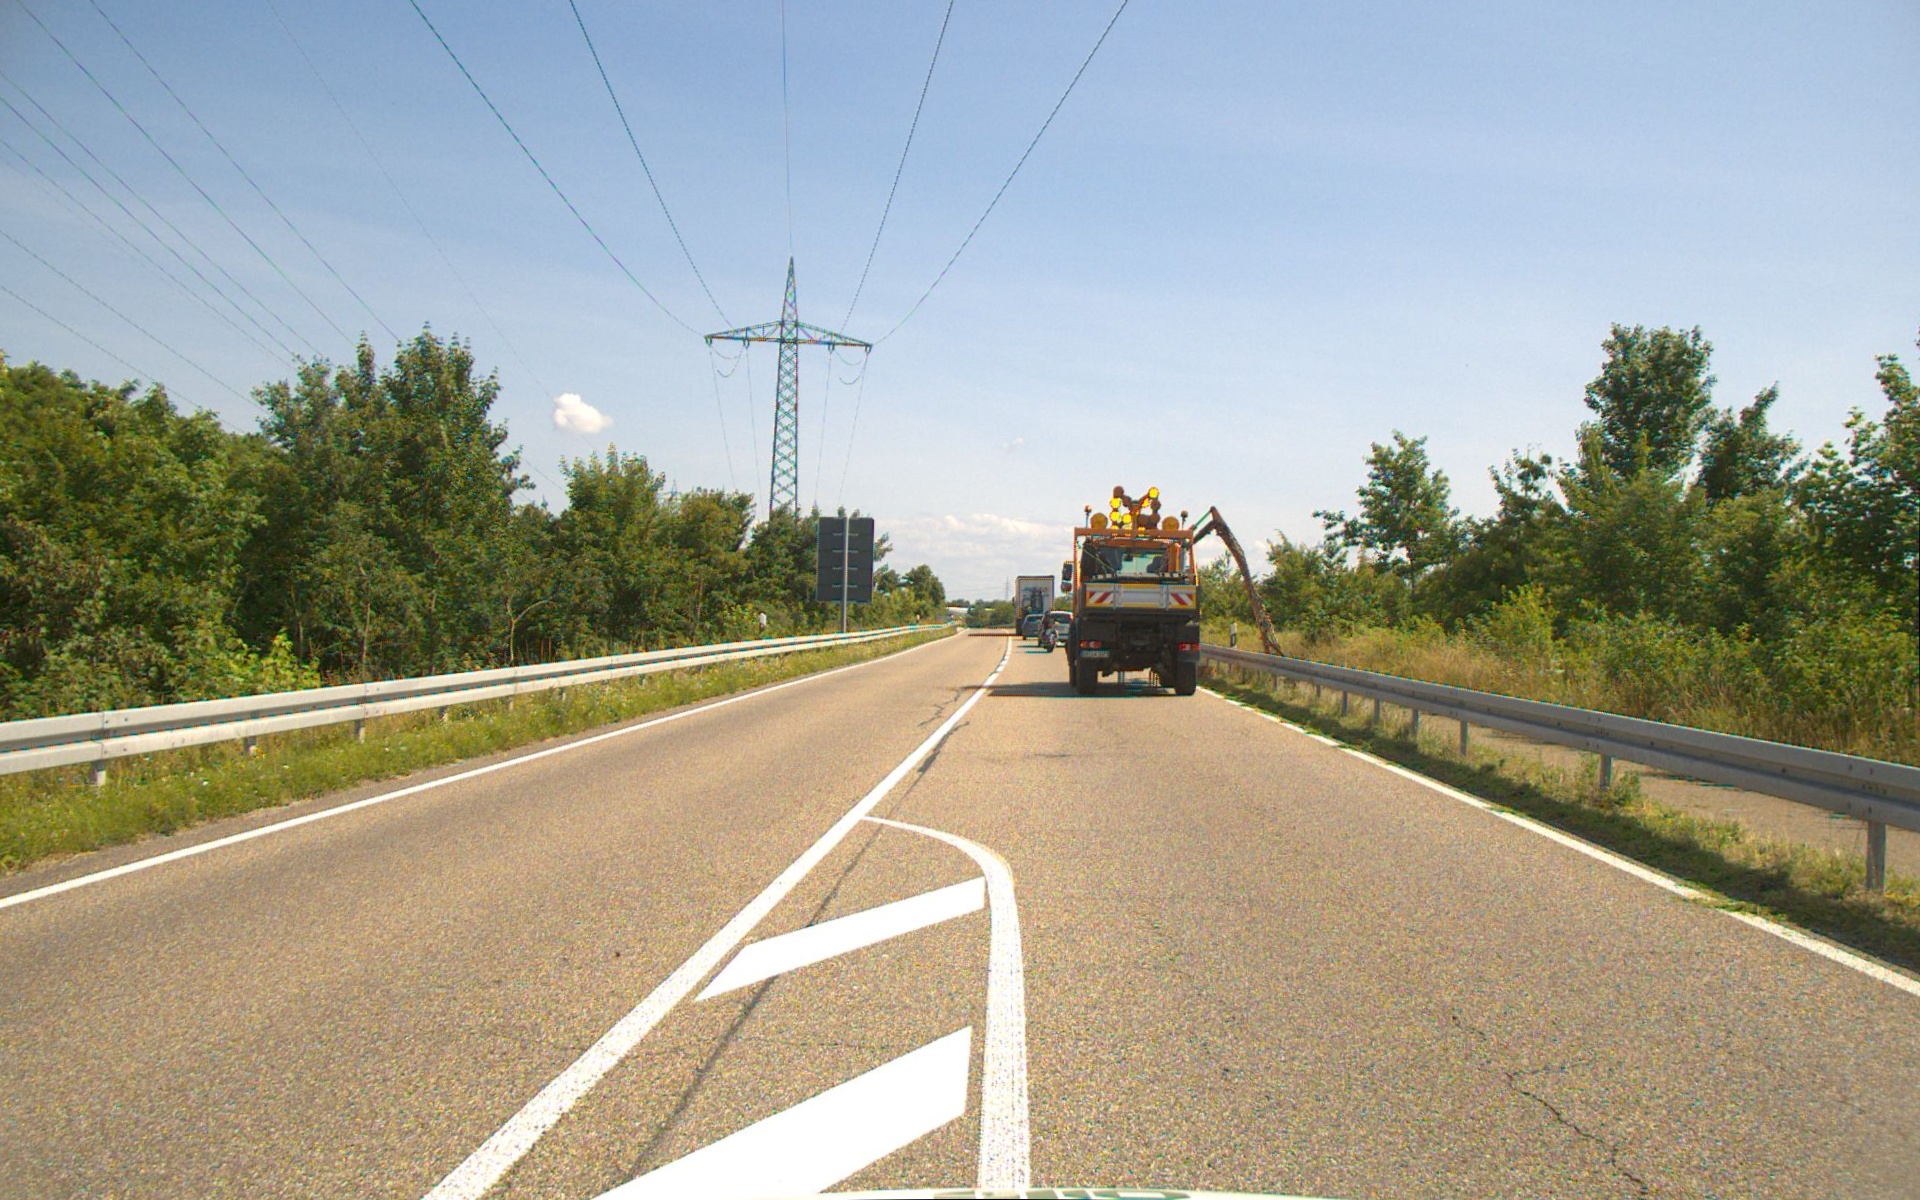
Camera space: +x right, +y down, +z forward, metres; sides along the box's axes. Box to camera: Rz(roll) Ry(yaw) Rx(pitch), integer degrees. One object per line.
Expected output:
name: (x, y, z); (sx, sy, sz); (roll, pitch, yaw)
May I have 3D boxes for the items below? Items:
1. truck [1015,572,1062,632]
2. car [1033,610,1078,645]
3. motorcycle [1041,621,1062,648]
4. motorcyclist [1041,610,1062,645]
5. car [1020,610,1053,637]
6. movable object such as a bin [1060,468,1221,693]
truck: (5.584, 0.197, 117.635); (3.174, 4.048, 9.446); (1, -1, 3)
car: (4.279, 1.197, 73.603); (1.787, 1.477, 4.003); (1, 0, 6)
motorcycle: (3.467, 1.305, 63.033); (0.764, 0.993, 2.362); (1, 0, 3)
motorcyclist: (3.481, 1.044, 63.055); (0.764, 1.349, 0.813); (1, 0, 2)
car: (4.304, 1.295, 93.643); (1.827, 1.445, 4.001); (1, 0, 2)
movable object such as a bin: (3.434, -0.343, 33.666); (2.696, 3.907, 9.448); (1, 0, 3)
